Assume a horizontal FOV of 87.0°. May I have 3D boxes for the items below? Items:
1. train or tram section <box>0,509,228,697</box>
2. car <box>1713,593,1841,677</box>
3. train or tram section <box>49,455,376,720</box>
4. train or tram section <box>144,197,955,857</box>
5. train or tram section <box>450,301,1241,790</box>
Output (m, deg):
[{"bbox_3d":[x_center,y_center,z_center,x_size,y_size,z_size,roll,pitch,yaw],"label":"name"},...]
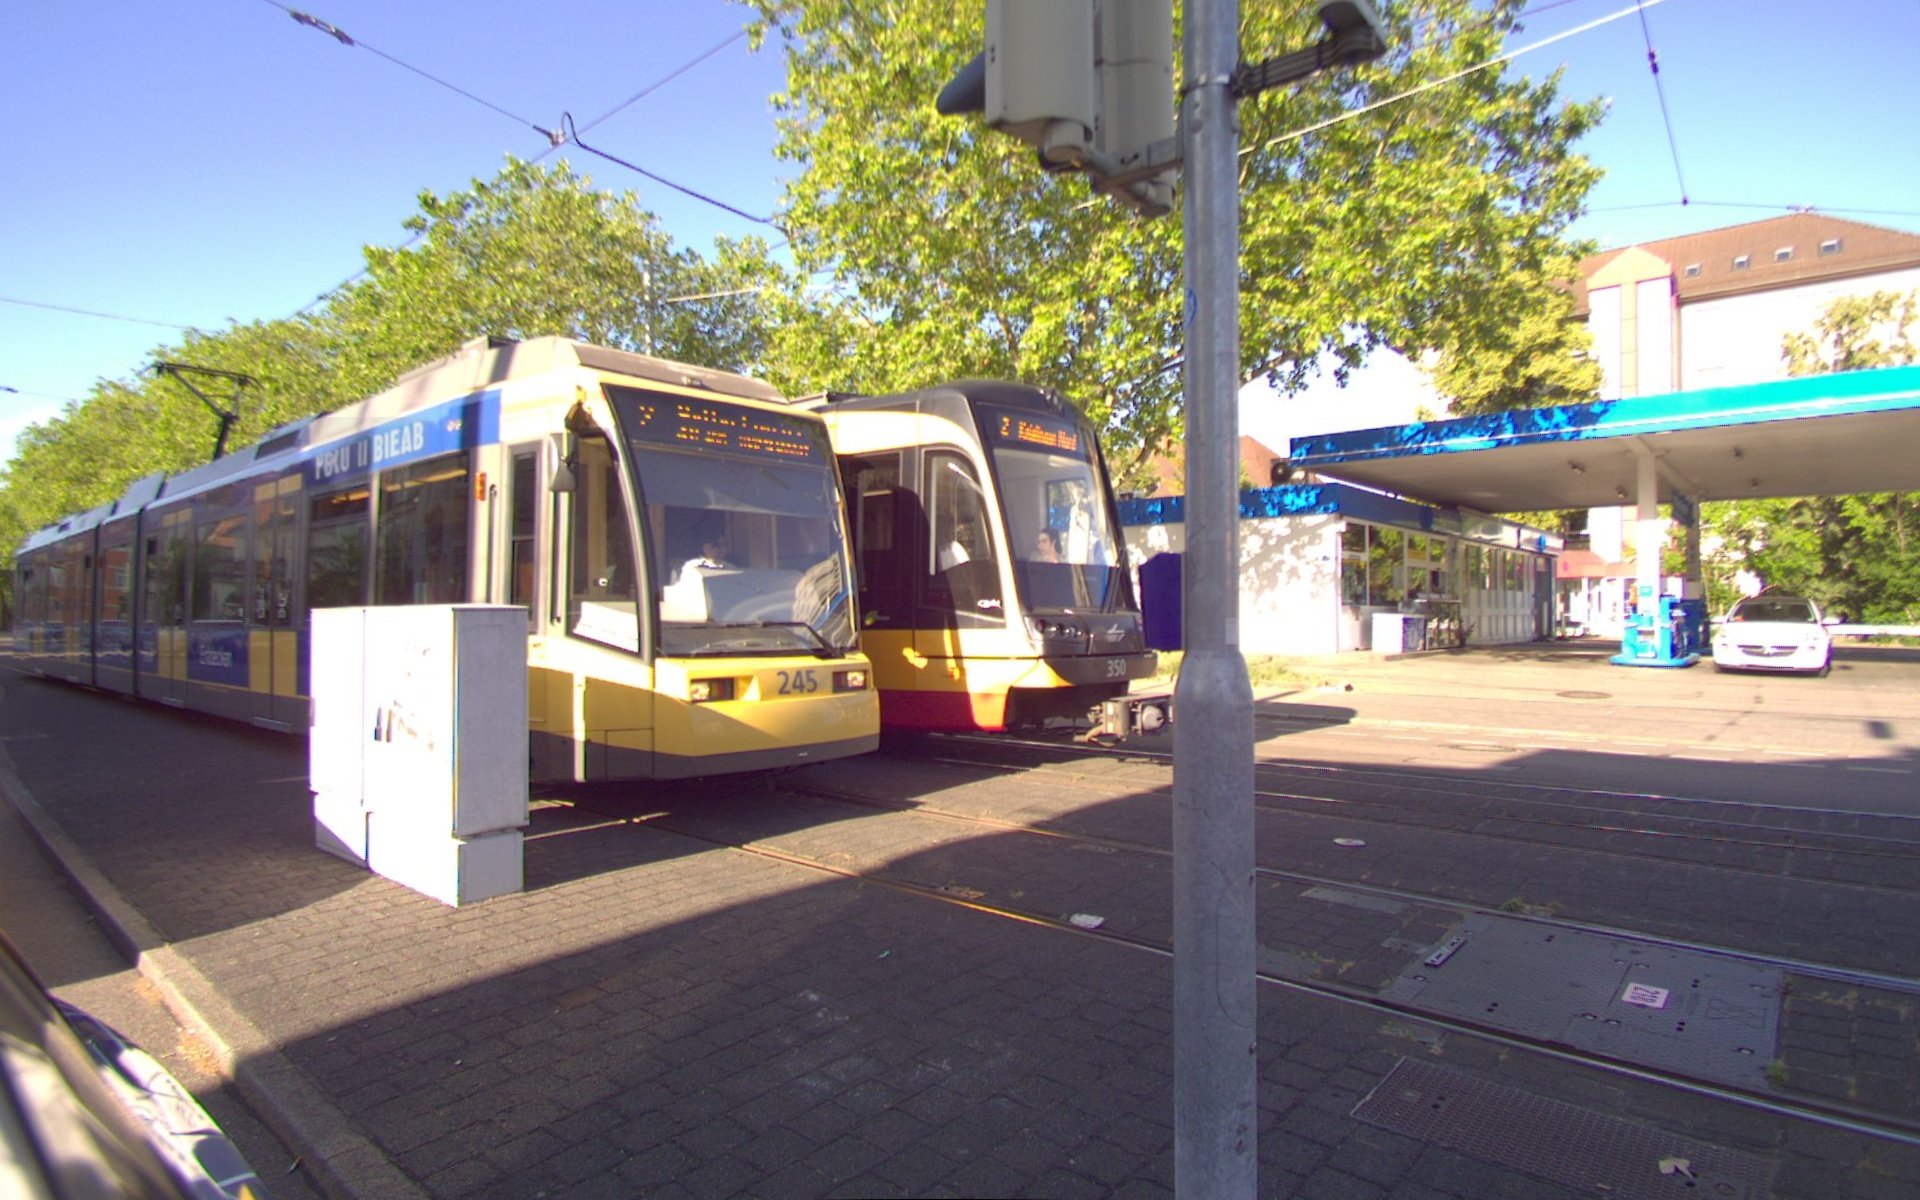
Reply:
[{"bbox_3d":[-19.203,0.141,22.709,7.958,3.526,2.785,-2,-2,41],"label":"train or tram section"},{"bbox_3d":[15.995,0.642,19.783,1.780,1.475,3.946,-1,-1,40],"label":"car"},{"bbox_3d":[-13.062,-0.076,17.310,8.458,3.526,2.785,-2,-2,41],"label":"train or tram section"},{"bbox_3d":[-5.427,-0.268,10.445,12.026,3.526,2.741,-2,-2,42],"label":"train or tram section"},{"bbox_3d":[-2.175,-0.356,11.633,10.175,3.503,2.826,-1,0,40],"label":"train or tram section"}]
